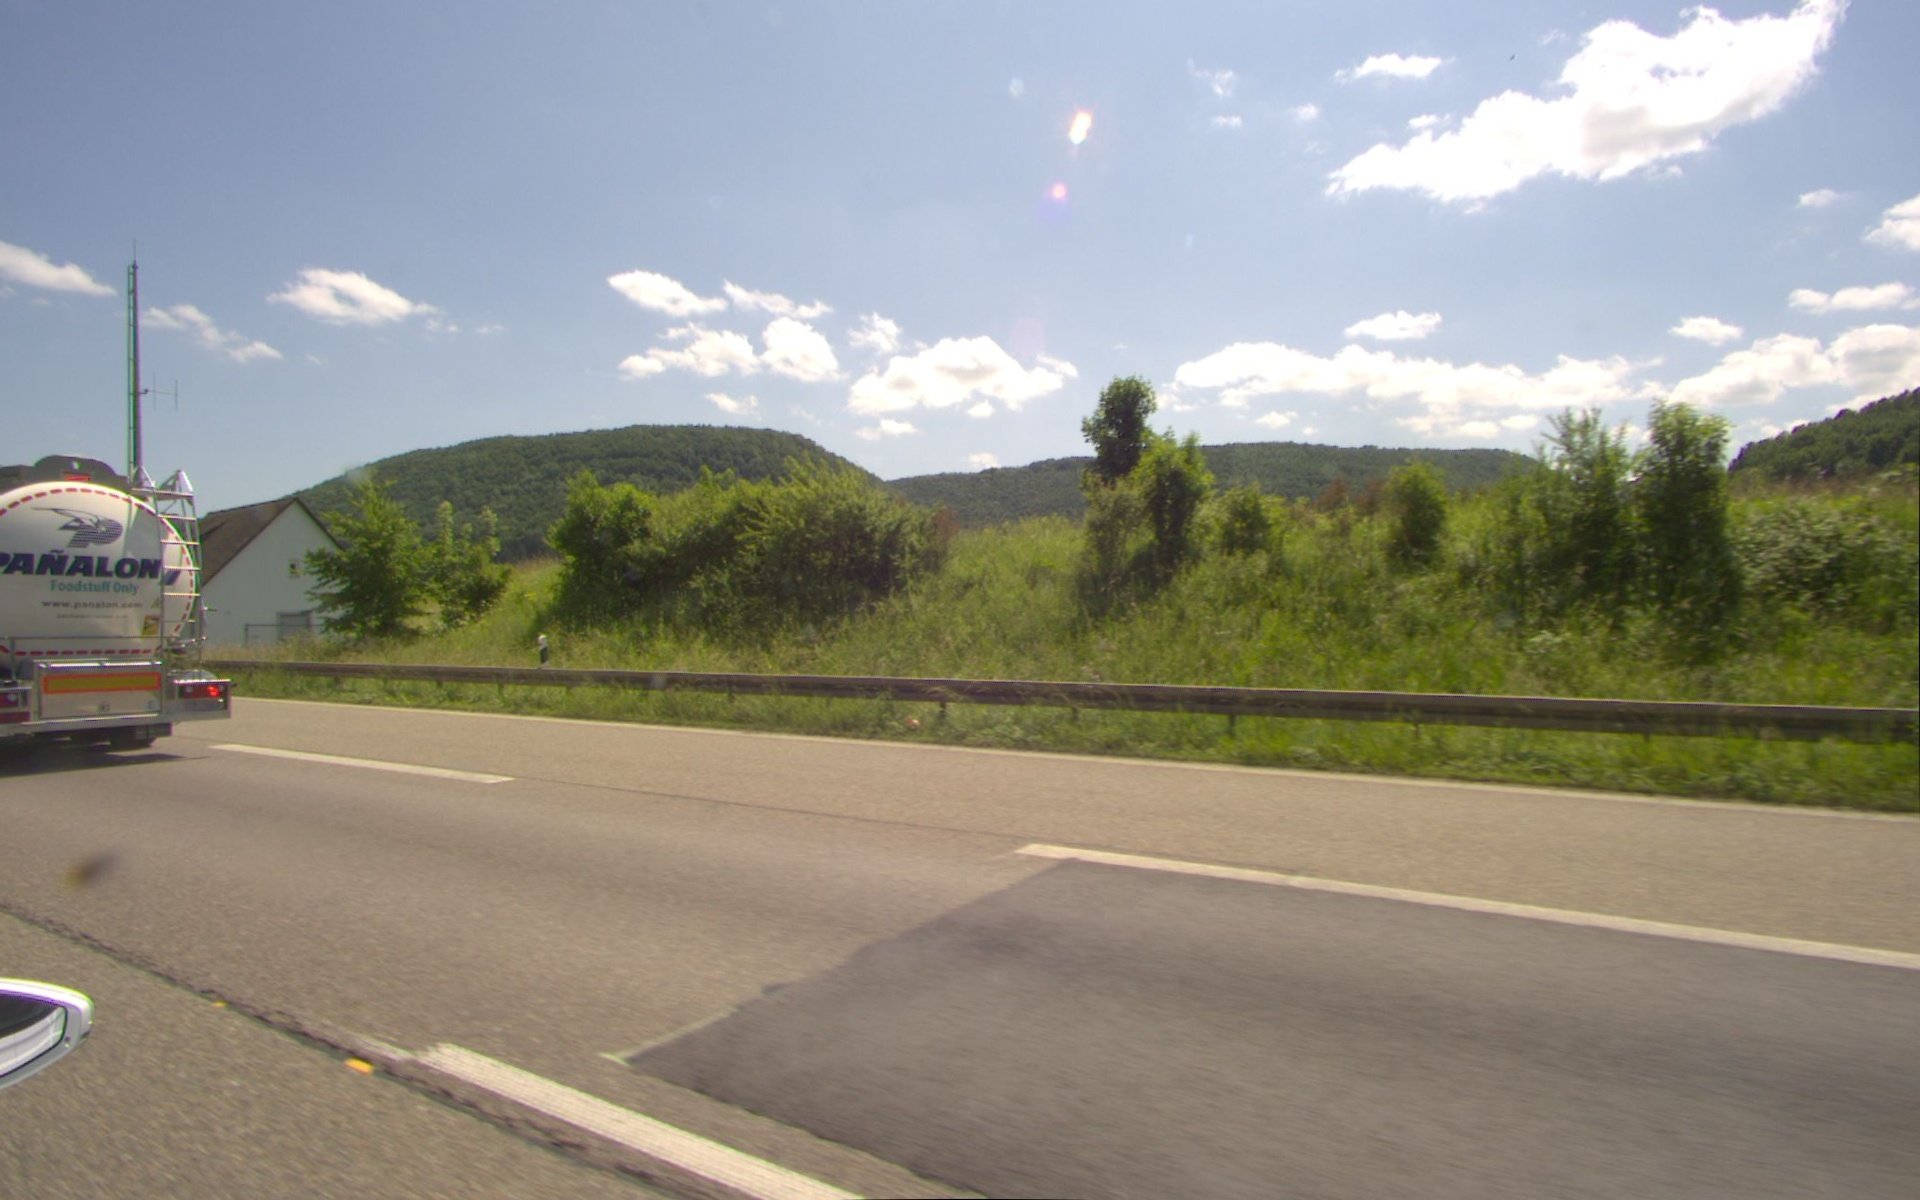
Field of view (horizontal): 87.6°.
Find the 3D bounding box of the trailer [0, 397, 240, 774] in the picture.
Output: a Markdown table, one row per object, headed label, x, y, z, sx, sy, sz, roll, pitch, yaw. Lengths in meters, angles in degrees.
| label | x | y | z | sx | sy | sz | roll | pitch | yaw |
| --- | --- | --- | --- | --- | --- | --- | --- | --- | --- |
| trailer | -14.195 | -0.040 | 13.859 | 11.718 | 3.783 | 2.534 | -1 | -1 | 32 |
